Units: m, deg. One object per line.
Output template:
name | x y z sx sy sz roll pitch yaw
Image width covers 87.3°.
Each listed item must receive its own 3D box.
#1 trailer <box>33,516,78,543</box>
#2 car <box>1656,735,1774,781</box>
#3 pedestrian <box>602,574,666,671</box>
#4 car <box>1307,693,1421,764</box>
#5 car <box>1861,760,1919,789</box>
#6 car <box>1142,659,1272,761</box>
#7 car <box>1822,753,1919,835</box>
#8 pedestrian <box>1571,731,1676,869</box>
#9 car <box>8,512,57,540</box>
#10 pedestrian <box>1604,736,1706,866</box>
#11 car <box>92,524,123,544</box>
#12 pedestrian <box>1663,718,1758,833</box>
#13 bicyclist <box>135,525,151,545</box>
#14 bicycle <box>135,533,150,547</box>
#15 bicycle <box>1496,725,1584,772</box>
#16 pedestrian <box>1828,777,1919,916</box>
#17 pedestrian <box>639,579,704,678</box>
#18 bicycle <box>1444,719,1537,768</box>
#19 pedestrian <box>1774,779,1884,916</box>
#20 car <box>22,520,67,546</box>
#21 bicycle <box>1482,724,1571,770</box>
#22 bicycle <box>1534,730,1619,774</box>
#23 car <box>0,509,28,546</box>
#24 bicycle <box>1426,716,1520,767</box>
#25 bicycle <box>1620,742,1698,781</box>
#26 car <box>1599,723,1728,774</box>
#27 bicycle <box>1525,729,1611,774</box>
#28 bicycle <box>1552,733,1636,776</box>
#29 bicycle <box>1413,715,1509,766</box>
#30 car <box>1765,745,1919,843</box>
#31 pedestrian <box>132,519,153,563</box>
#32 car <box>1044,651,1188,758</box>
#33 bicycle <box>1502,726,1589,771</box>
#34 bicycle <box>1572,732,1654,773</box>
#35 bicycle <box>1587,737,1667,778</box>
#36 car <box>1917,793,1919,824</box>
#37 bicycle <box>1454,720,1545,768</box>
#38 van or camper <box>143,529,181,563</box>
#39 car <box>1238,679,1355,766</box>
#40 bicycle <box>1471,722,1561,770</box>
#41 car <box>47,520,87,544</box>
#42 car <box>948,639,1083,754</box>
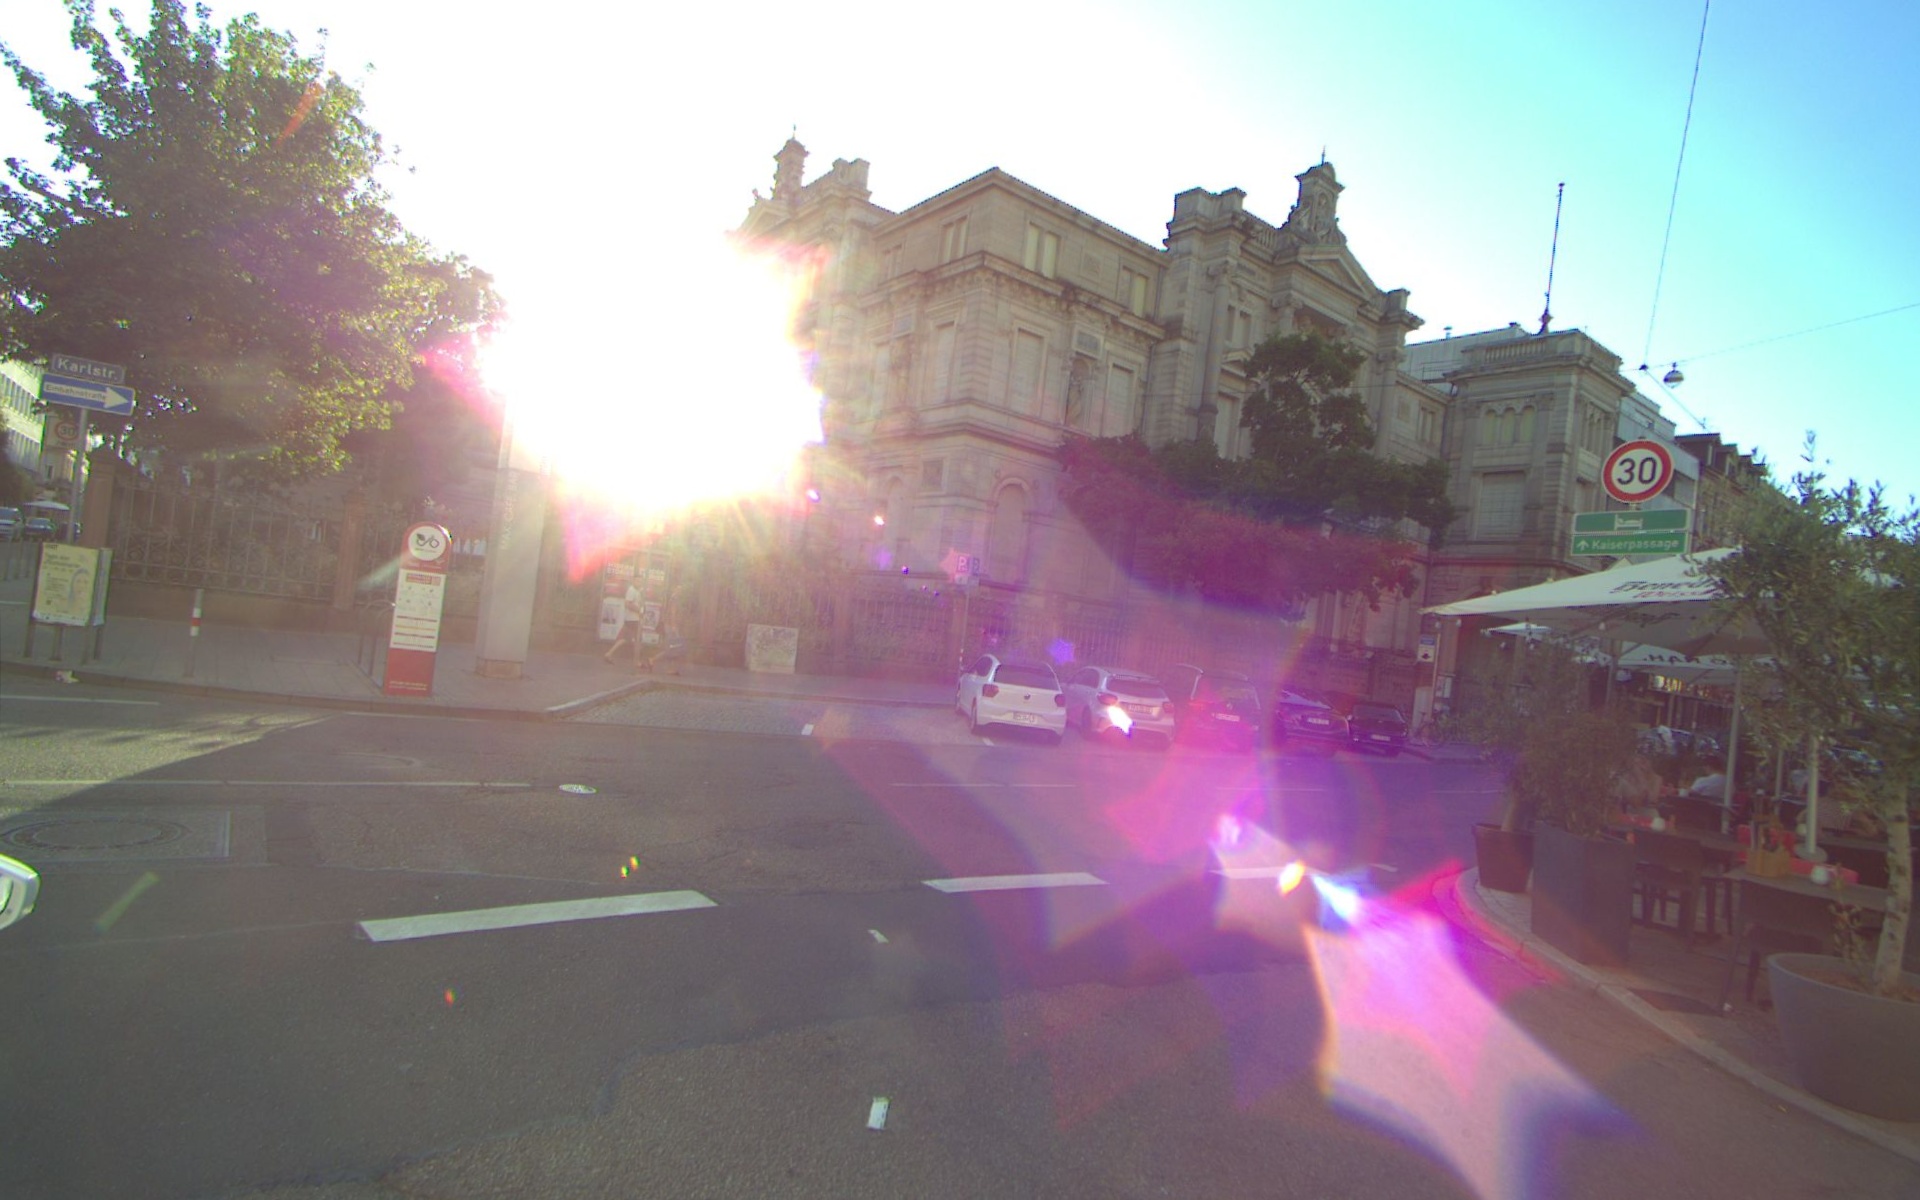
trailer | -66.182 -5.101 73.638 1.985 1.574 3.960 9 -3 -38
car | 34.854 7.275 46.524 1.741 1.428 3.963 9 -3 -36
pedestrian | -6.135 0.424 18.919 0.633 1.690 0.703 8 0 39
car | 10.728 3.370 27.019 1.722 1.428 4.007 7 -3 7
car | 64.174 11.964 68.419 1.741 1.428 3.963 9 -3 -36
car | 5.495 2.406 22.892 1.723 1.741 4.000 7 -1 -1
car | 20.597 4.198 20.581 4.031 1.428 1.757 6 -3 20
pedestrian | 6.923 2.066 10.525 0.589 1.260 0.687 8 -1 13
car | -60.752 -4.857 65.948 1.875 1.469 3.959 9 -2 -38
pedestrian | 7.669 2.196 11.134 0.589 1.260 0.687 8 -1 13
car | -88.653 -6.863 104.680 1.984 1.703 3.962 9 -3 -36
pedestrian | 9.260 2.143 12.432 0.589 1.260 0.687 8 -1 13
bicyclist | -83.927 -6.719 103.359 0.985 1.890 0.702 8 -2 -35
bicycle | -84.050 -6.135 103.428 0.970 1.294 2.728 9 -3 -36
bicycle | 18.668 4.772 32.427 0.712 1.102 2.277 9 -3 -40
pedestrian | 9.472 2.511 10.317 0.680 1.260 0.595 9 -1 -33
pedestrian | -5.326 0.530 18.605 0.633 1.690 0.703 8 0 39
bicycle | 15.830 4.271 30.055 0.712 1.102 2.277 9 -3 -40
pedestrian | 8.624 2.440 9.993 0.568 1.202 0.596 8 -1 -33
car | -63.879 -4.666 70.275 1.875 1.469 3.959 9 -2 -38
bicycle | 17.938 4.647 31.883 0.712 1.102 2.277 9 -3 -40
bicycle | 20.928 5.163 34.177 0.712 1.102 2.277 9 -3 -40
car | -54.260 -4.200 56.733 1.875 1.934 4.699 9 -2 -38
bicycle | 14.952 4.119 29.372 0.712 1.102 2.277 9 -3 -40
bicycle | 26.725 6.158 38.482 0.712 1.102 2.277 9 -3 -40
car | 29.190 6.138 41.816 1.741 1.428 3.963 9 -3 -36
bicycle | 20.294 5.050 33.620 0.712 1.102 2.277 9 -3 -40
bicycle | 21.908 5.326 34.793 0.712 1.102 2.277 9 -3 -40
bicycle | 14.333 4.009 28.830 0.712 1.102 2.277 9 -3 -40
car | 17.918 3.783 18.834 3.993 1.428 1.757 6 -3 20
pedestrian | -32.428 -2.353 39.893 0.482 1.678 0.611 6 0 -44
car | 3.156 2.107 21.211 1.726 1.545 3.992 8 0 -8
bicycle | 19.263 4.888 33.142 0.712 1.102 2.277 9 -3 -40
bicycle | 23.497 5.488 36.237 0.712 1.102 2.277 9 -3 -40
bicycle | 24.374 5.758 36.805 0.712 1.102 2.277 9 -3 -40
car | 27.442 5.432 25.629 3.956 1.428 1.757 6 -3 20
bicycle | 16.436 4.385 30.690 0.712 1.102 2.277 9 -3 -40
van or camper | -69.131 -4.664 87.189 2.243 2.641 5.063 3 0 -36
car | 7.936 2.849 24.105 1.722 1.626 4.007 7 -3 7
bicycle | 17.246 4.522 31.255 0.712 1.102 2.277 9 -3 -40
car | -68.618 -5.227 77.365 1.875 1.469 3.959 9 -2 -38
car | 0.962 1.784 19.572 1.726 1.466 3.900 8 2 -8
